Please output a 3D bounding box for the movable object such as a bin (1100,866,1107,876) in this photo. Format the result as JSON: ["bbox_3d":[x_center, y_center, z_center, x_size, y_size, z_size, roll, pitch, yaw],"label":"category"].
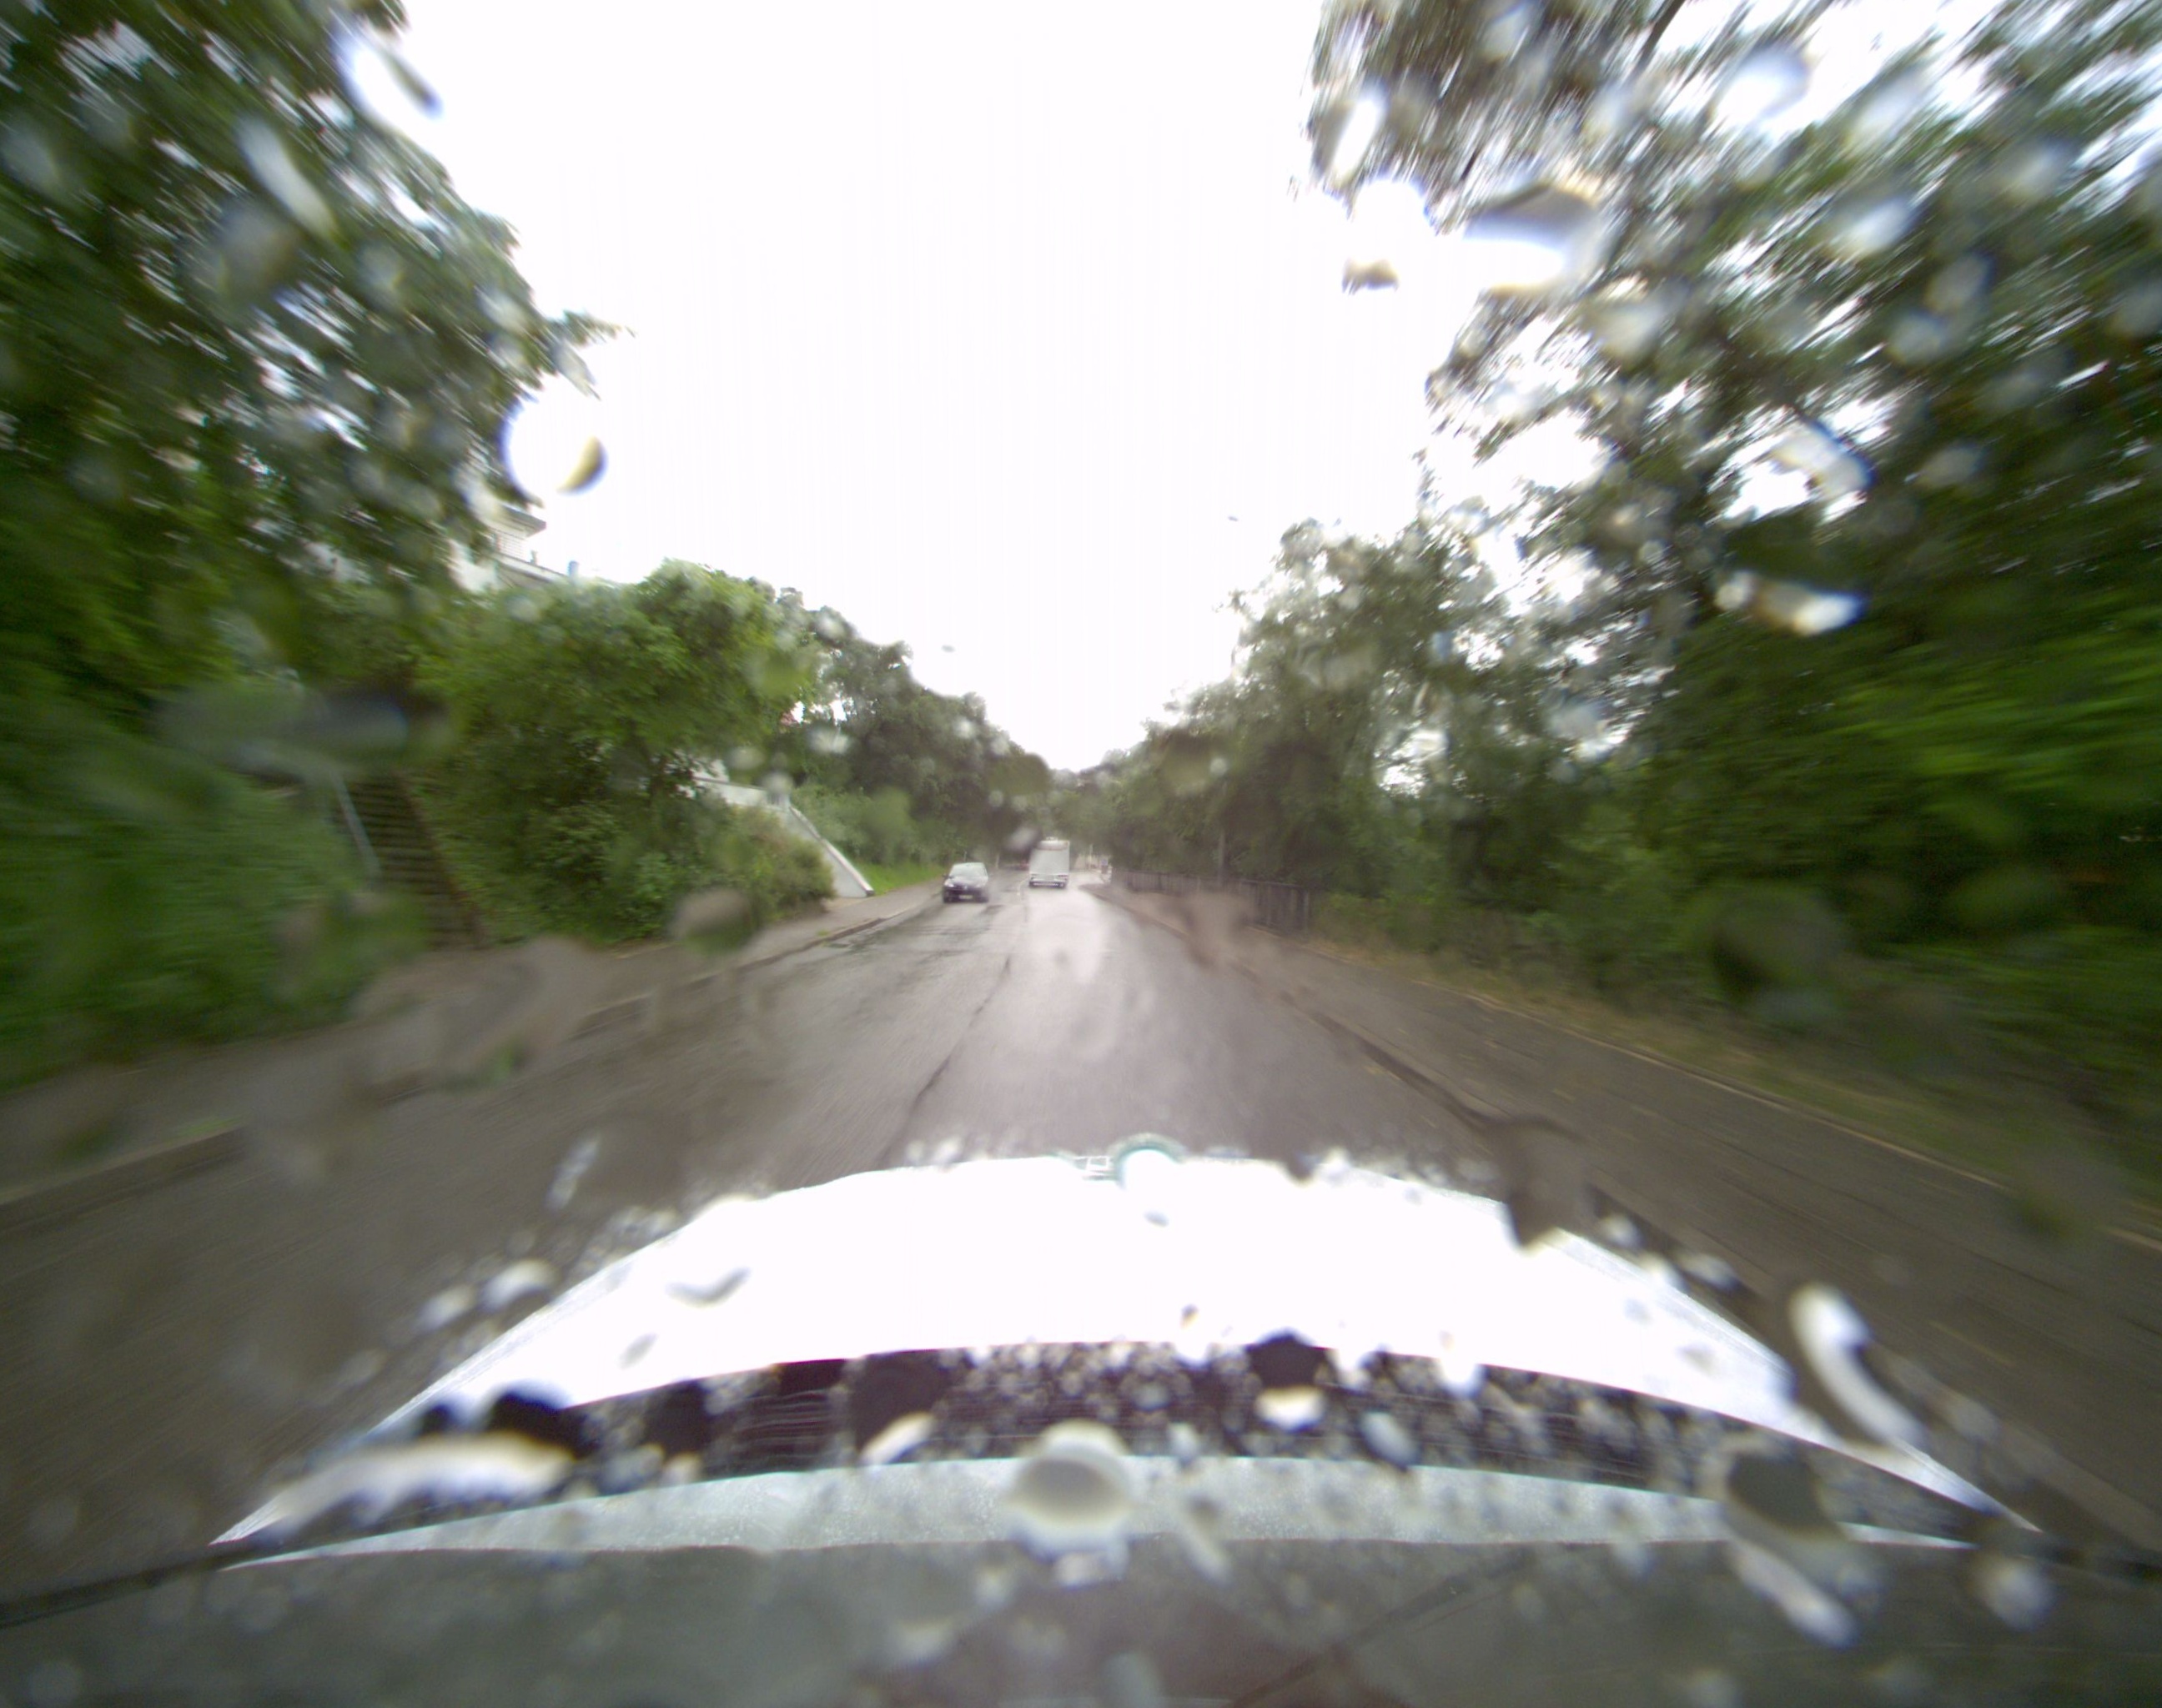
[{"bbox_3d":[2.608,1.962,93.615,0.774,1.133,0.739,2,-1,6],"label":"movable object such as a bin"}]

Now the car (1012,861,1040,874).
[{"bbox_3d":[-6.829,1.671,101.460,1.979,1.562,4.671,2,0,15],"label":"car"}]

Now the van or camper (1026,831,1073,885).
[{"bbox_3d":[-1.963,0.280,48.552,2.536,2.925,5.937,-2,-1,-5],"label":"van or camper"}]

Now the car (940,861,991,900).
[{"bbox_3d":[-4.257,0.949,30.448,1.647,1.385,3.524,0,-1,-4],"label":"car"}]
